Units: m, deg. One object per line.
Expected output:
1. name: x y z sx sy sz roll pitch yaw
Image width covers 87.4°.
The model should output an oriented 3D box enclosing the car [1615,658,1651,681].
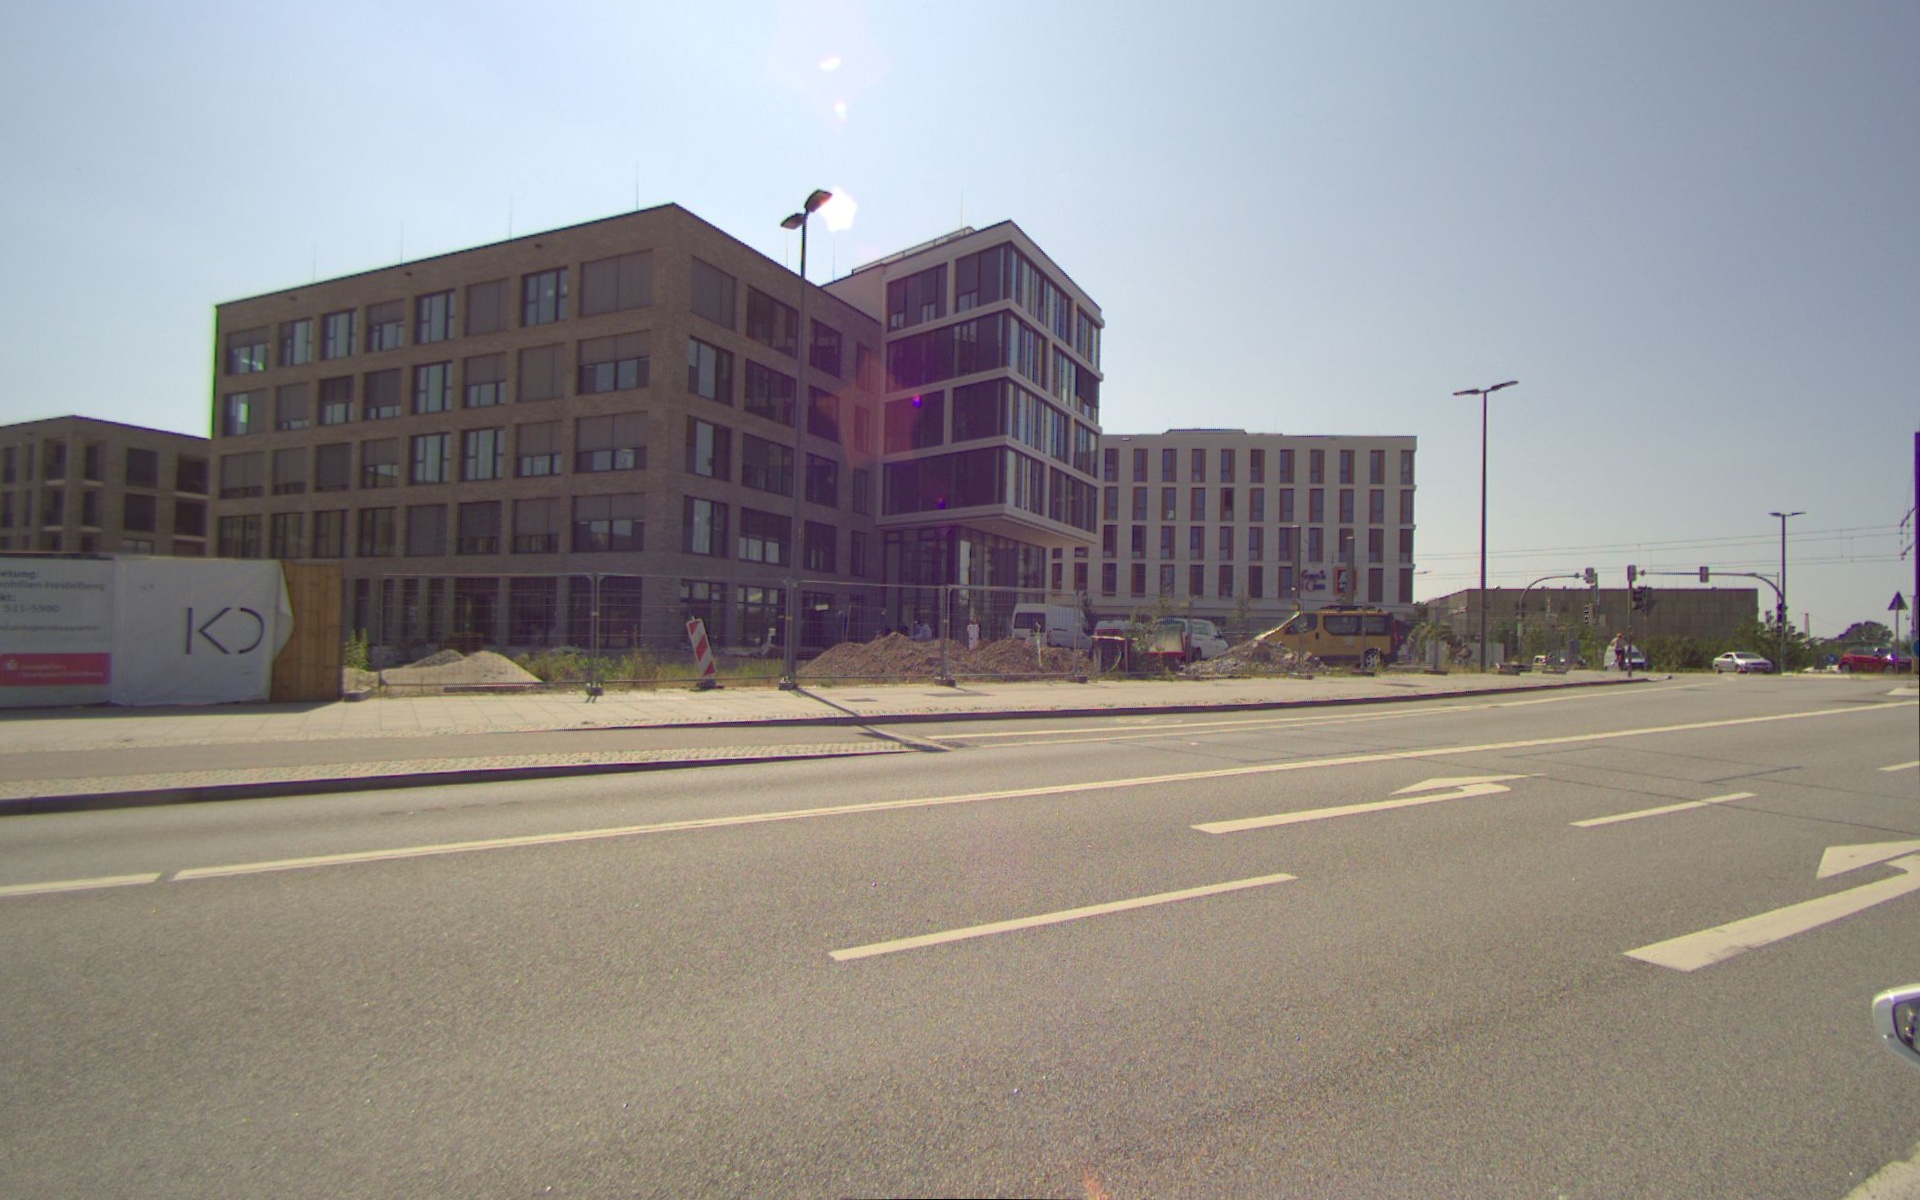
1. car: 68.244 7.041 101.915 1.960 2.040 4.001 1 -1 17

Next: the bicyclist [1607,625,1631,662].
1. bicyclist: 29.030 1.909 44.253 0.808 1.589 0.946 2 0 31

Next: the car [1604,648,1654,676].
1. car: 55.083 5.067 82.750 1.577 2.040 4.002 2 0 4

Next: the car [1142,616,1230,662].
1. car: 9.534 1.625 42.106 1.969 1.730 4.546 2 0 35

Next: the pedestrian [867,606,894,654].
1. pedestrian: -3.434 1.285 43.385 0.949 2.040 0.940 2 0 -17

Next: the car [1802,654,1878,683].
1. car: 60.704 4.729 69.379 1.796 1.666 4.212 2 0 6

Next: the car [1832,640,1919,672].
1. car: 48.542 2.938 52.880 1.652 1.475 3.999 2 0 -2

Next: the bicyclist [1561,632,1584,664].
1. bicyclist: 31.429 2.439 51.548 0.846 1.580 0.825 2 0 20

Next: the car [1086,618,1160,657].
1. car: 7.140 1.611 43.679 1.773 1.528 3.991 2 0 31

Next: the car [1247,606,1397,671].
1. car: 12.079 1.257 33.777 4.395 1.915 2.001 2 0 8

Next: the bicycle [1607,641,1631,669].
1. bicycle: 29.033 2.420 44.287 0.665 1.142 2.361 2 0 29

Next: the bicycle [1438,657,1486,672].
1. bicycle: 26.881 3.456 53.794 2.217 0.701 0.514 1 -1 37

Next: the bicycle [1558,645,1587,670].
1. bicycle: 31.440 2.941 51.575 0.714 1.149 2.533 4 -1 20

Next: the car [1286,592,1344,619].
1. car: 28.933 0.426 81.977 1.986 2.040 3.949 2 0 -43

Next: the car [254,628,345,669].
1. car: -30.417 2.190 46.239 3.708 1.675 1.834 2 0 26

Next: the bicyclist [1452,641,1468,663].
1. bicyclist: 26.818 2.792 53.876 0.648 1.190 0.728 -3 -5 36

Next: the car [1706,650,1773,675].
1. car: 49.810 3.967 64.274 1.736 1.350 3.717 2 0 7

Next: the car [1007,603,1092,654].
1. car: 4.043 1.237 44.713 2.175 2.083 4.164 2 0 30

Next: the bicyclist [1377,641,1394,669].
1. bicyclist: 23.848 3.081 56.273 0.649 1.522 0.840 2 0 39

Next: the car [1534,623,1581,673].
1. car: 26.543 2.101 44.562 1.646 2.040 3.991 2 0 32

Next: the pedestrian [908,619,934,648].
1. pedestrian: -1.920 1.656 49.417 1.099 1.391 0.742 2 0 -17
